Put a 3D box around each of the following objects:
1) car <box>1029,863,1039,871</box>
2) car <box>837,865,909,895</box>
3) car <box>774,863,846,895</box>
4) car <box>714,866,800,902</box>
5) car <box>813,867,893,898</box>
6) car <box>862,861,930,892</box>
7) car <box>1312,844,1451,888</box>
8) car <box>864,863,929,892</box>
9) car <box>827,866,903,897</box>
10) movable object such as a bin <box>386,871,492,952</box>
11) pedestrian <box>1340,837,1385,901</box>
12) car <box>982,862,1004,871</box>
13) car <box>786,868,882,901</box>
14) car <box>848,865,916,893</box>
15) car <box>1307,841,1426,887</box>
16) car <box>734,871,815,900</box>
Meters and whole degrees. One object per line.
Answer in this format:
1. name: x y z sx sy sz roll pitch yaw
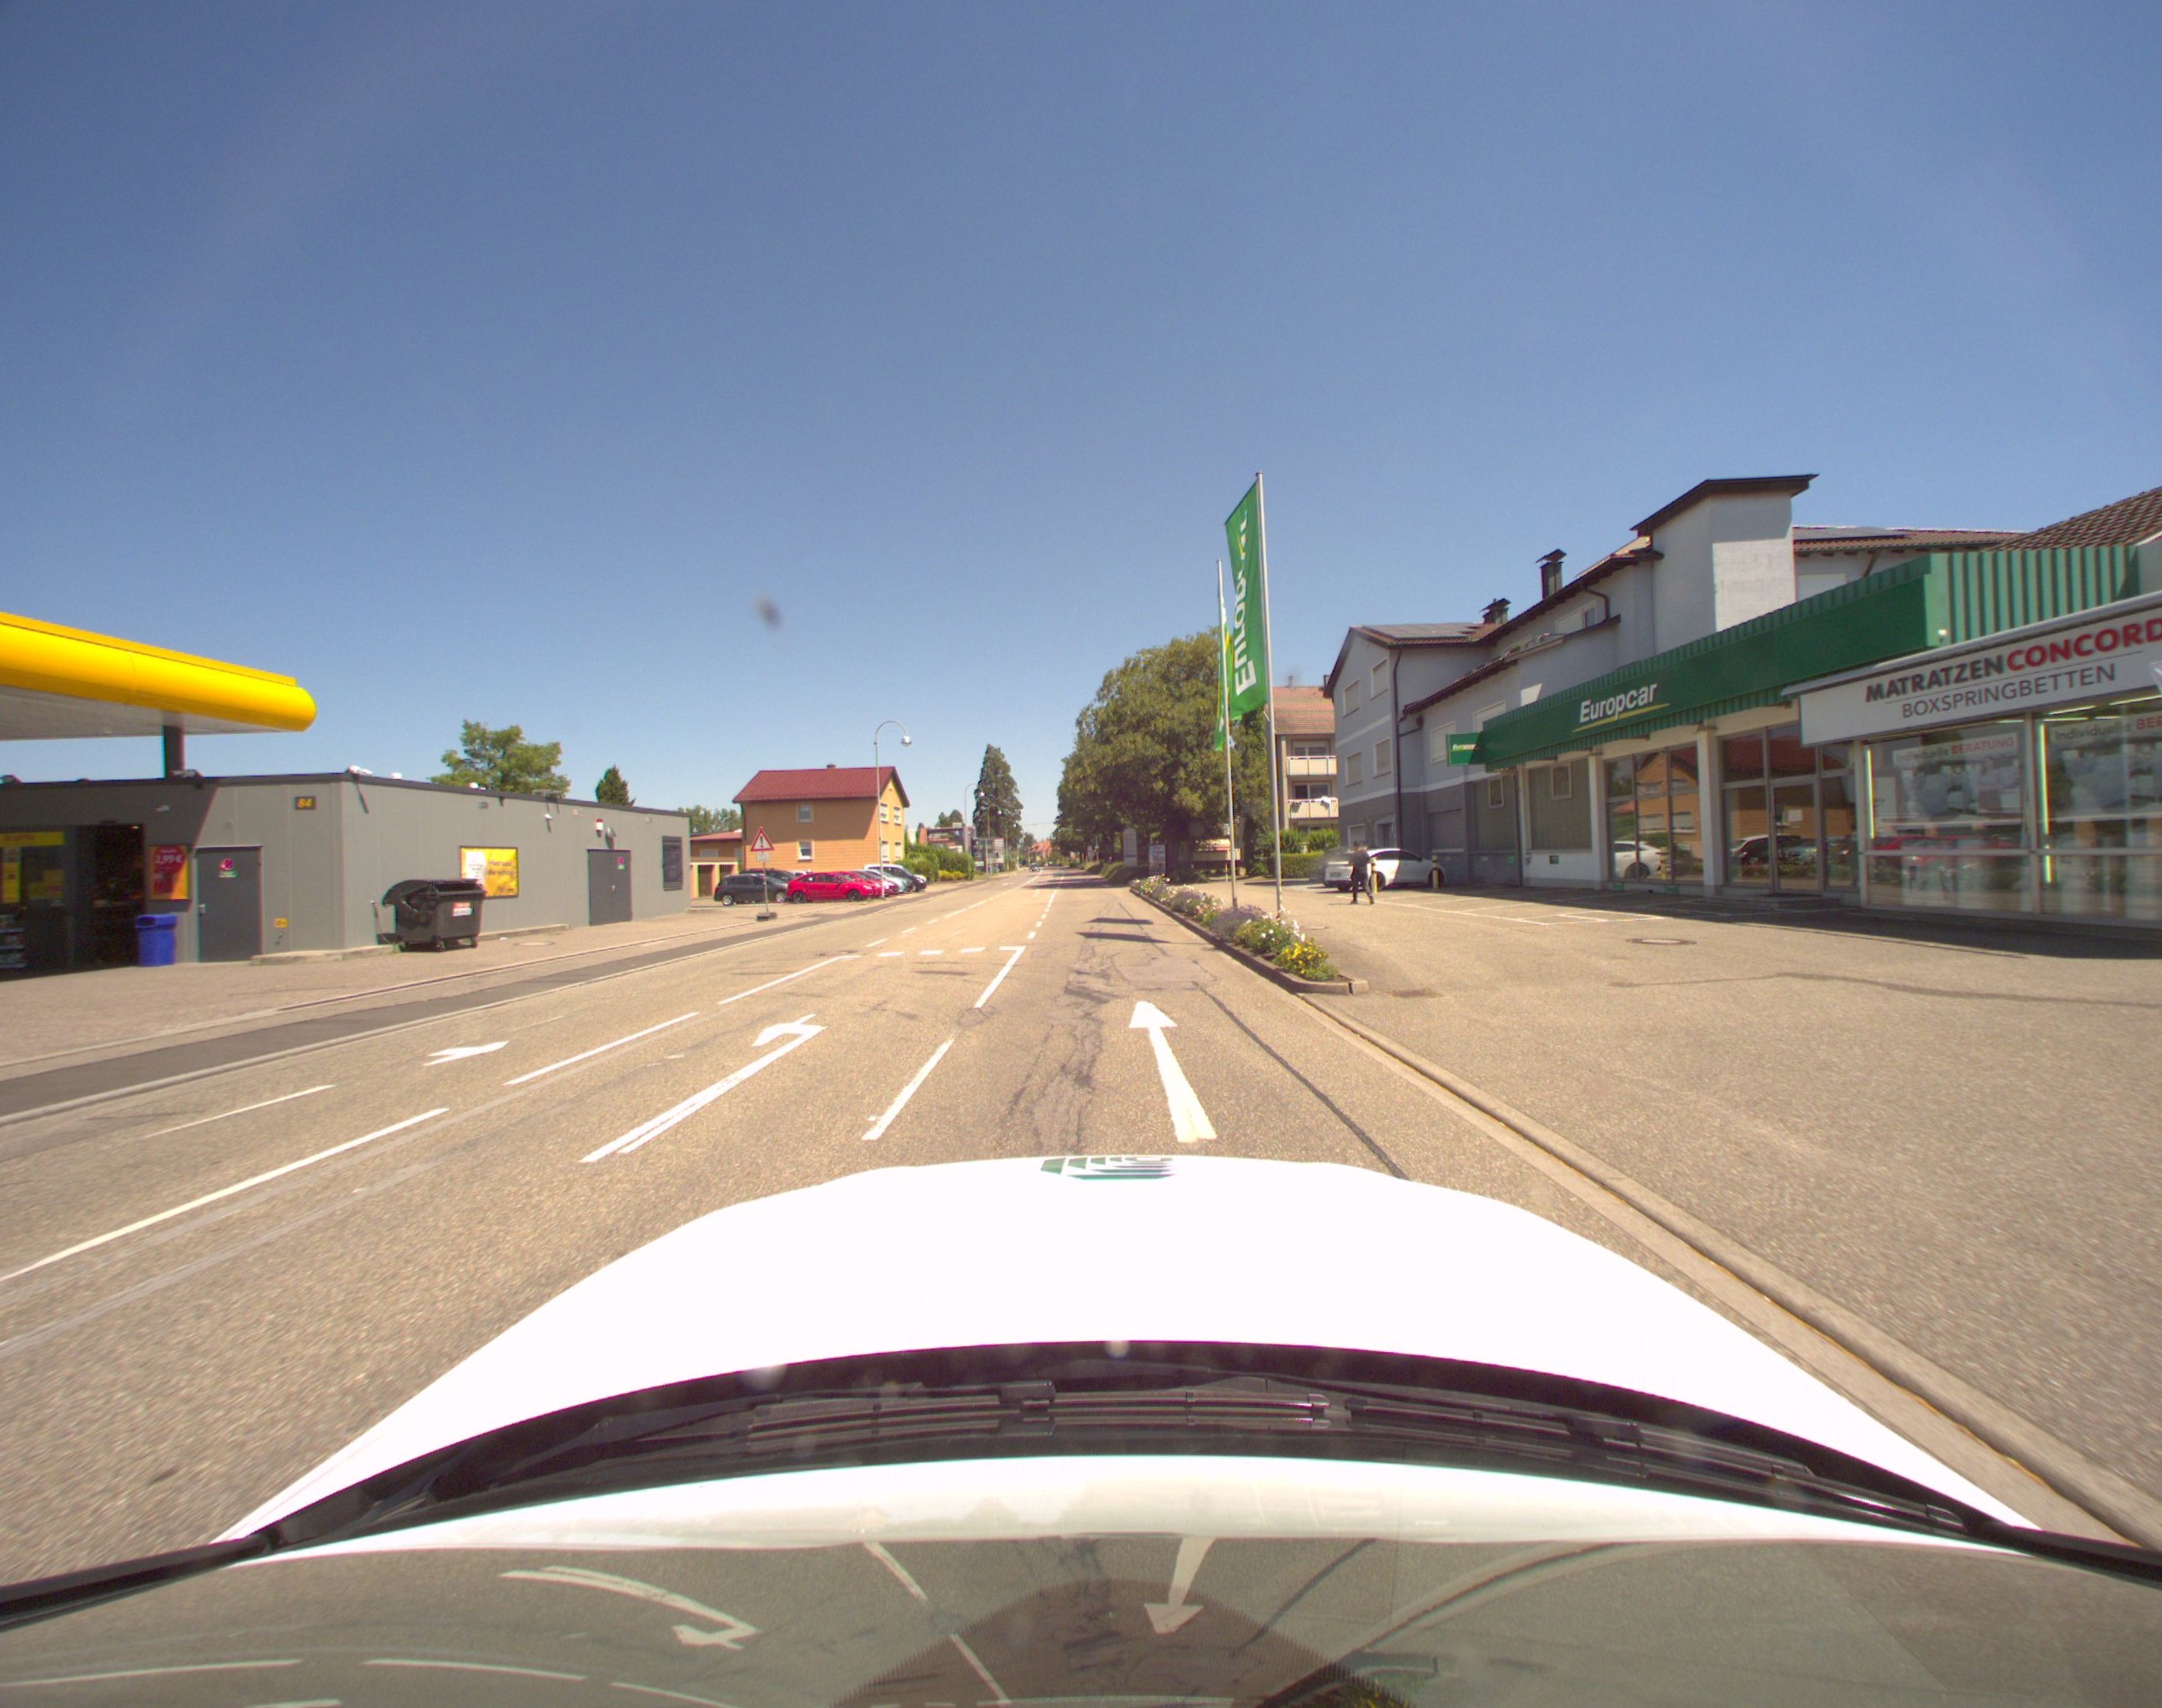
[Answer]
1. car: -8.442 2.318 146.904 1.705 1.495 4.275 -2 -1 -1
2. car: -11.971 1.476 46.969 3.655 1.581 1.920 -1 -2 -3
3. car: -16.238 1.494 48.968 3.655 1.776 1.920 -1 -2 -3
4. car: -16.555 1.543 41.767 3.656 1.709 1.890 -1 -2 -3
5. car: -11.785 1.484 42.299 3.655 1.457 1.890 -1 -2 -3
6. car: -12.107 1.452 53.443 4.088 1.898 1.996 -1 -2 -6
7. car: 10.409 0.401 28.194 4.363 1.371 1.940 -1 -2 -23
8. car: -11.548 1.486 51.245 3.655 1.672 1.920 -1 -2 -3
9. car: -11.839 1.505 44.782 3.655 1.605 1.879 -1 -2 -3
10. movable object such as a bin: -13.050 1.134 16.619 0.949 1.517 1.428 3 0 0
11. pedestrian: 7.452 0.397 21.605 0.836 1.641 1.011 -2 -2 4
12. car: -14.746 2.036 136.225 3.477 1.427 1.601 -2 -1 2
13. car: -12.050 1.472 39.880 4.114 1.444 1.826 -2 -2 -2
14. car: -11.935 1.491 49.080 3.655 1.532 1.920 -1 -2 -3
15. car: 11.166 0.413 32.046 3.975 1.550 1.797 -3 -2 -1
16. car: -16.540 1.701 44.047 3.655 1.457 1.890 -1 -2 -3
